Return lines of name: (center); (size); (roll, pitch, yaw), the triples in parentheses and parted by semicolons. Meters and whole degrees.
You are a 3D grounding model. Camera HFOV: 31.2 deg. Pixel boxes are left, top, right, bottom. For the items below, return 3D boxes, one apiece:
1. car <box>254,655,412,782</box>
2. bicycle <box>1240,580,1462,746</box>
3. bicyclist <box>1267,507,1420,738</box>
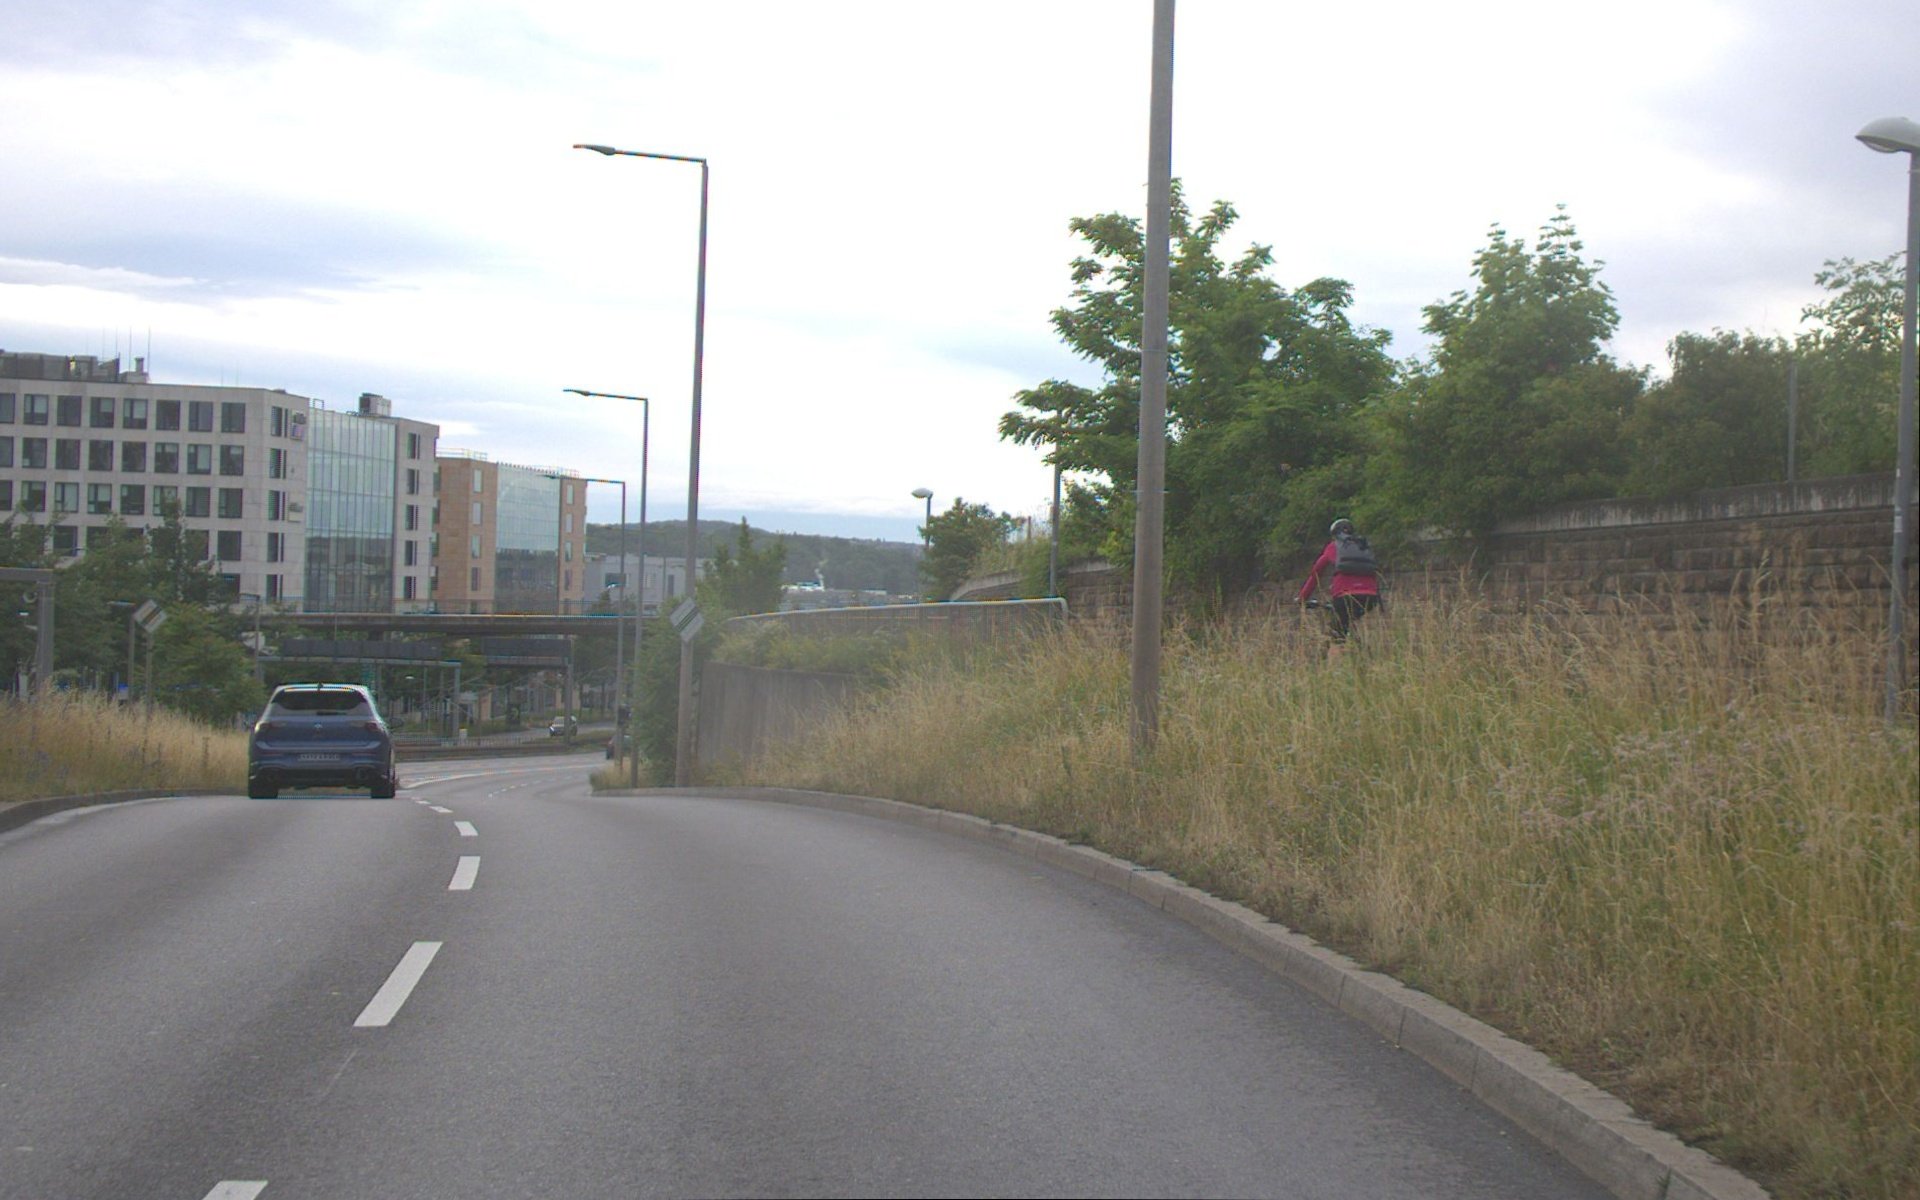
car: (-7.933, 1.484, 43.741); (1.748, 1.415, 3.479); (2, 0, -7)
bicycle: (3.309, 0.501, 29.557); (0.869, 1.284, 3.488); (4, 0, -10)
bicyclist: (3.297, 0.192, 29.668); (0.869, 1.902, 1.294); (4, -1, -10)
